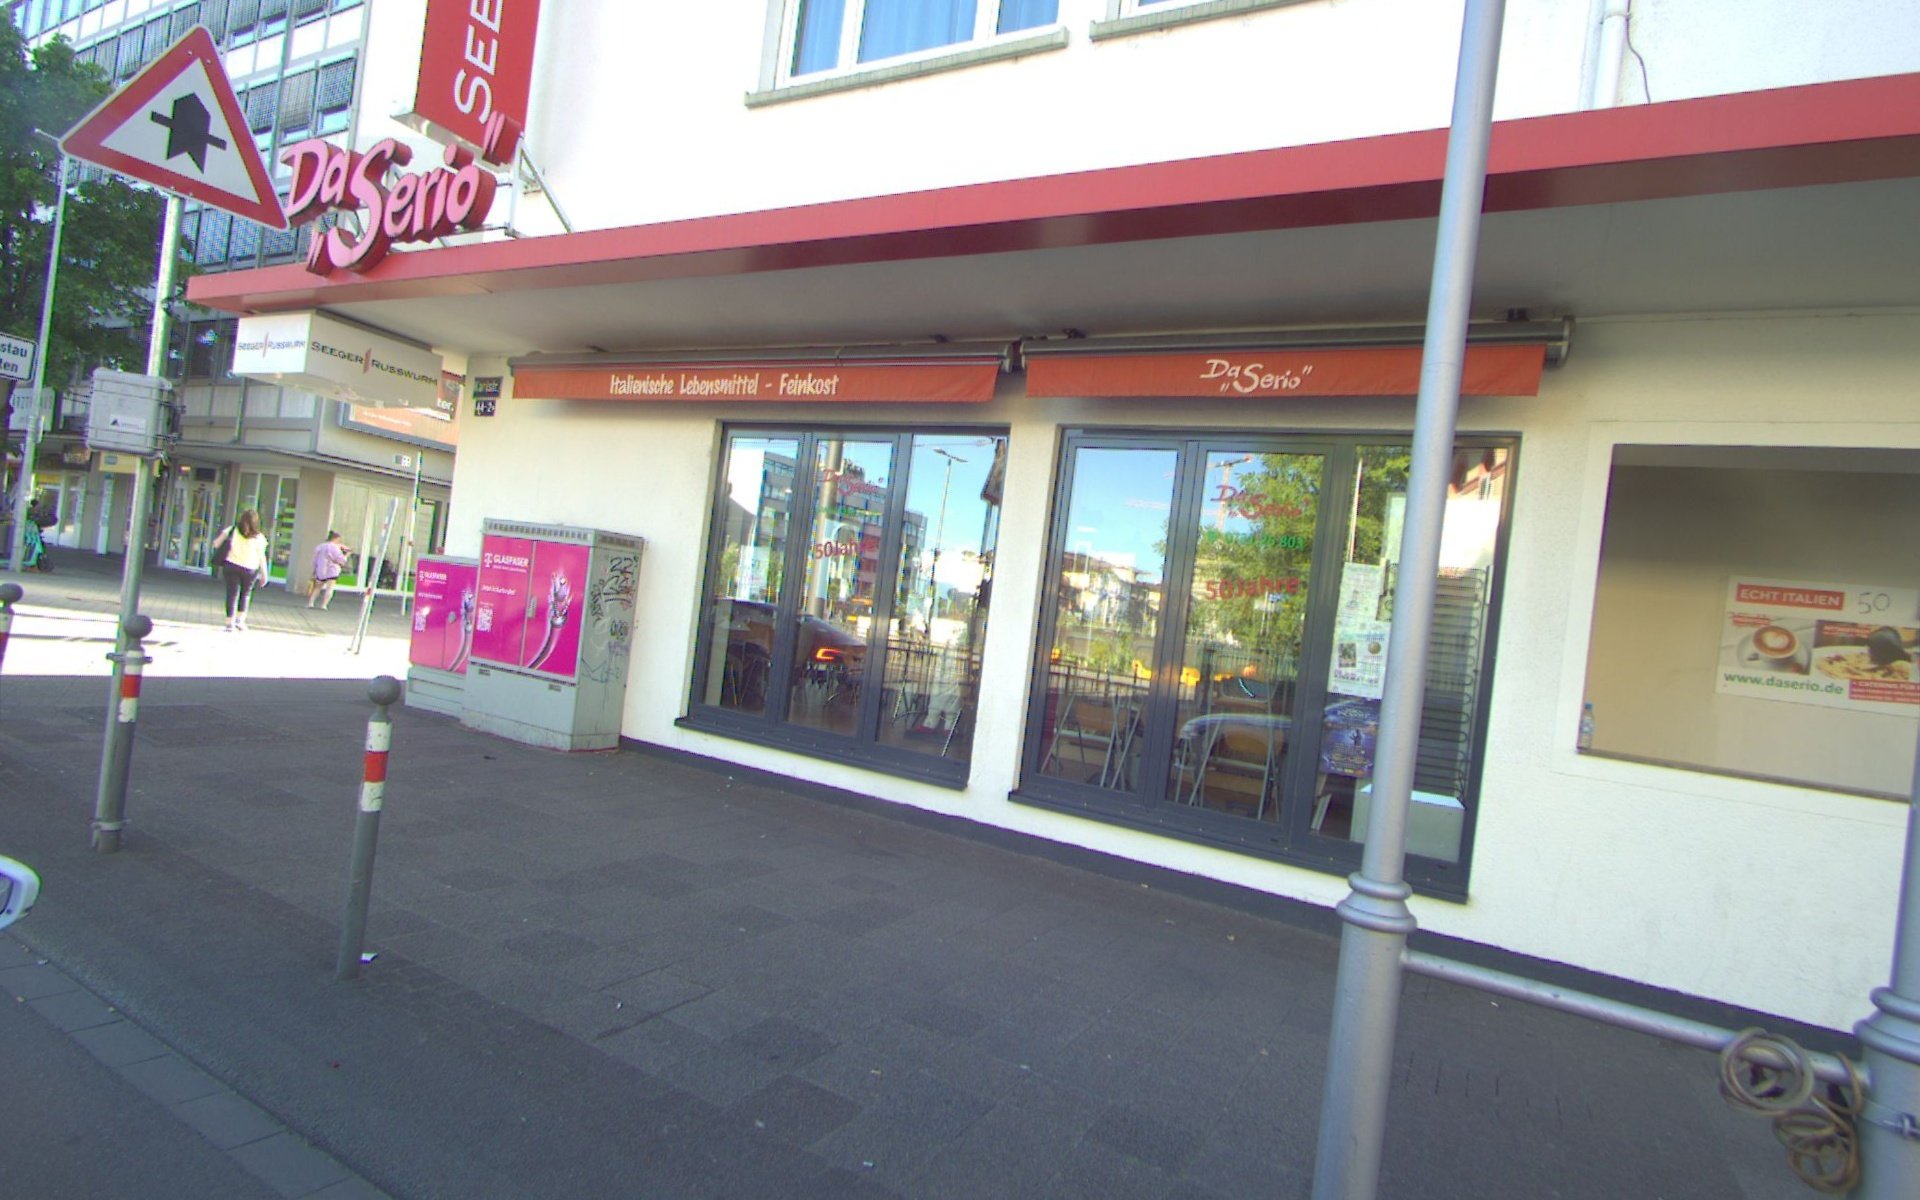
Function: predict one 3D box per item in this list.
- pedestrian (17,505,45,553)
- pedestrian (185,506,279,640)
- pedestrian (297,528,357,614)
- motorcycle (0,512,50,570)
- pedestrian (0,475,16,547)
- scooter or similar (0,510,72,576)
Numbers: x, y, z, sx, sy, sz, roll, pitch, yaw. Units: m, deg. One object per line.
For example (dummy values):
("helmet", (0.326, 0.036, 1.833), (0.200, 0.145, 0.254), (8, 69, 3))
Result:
("pedestrian", (-27.687, -2.124, 29.976), (0.504, 1.359, 0.390), (6, -1, 34))
("pedestrian", (-10.523, -0.390, 14.579), (0.909, 1.773, 1.029), (7, 0, -35))
("pedestrian", (-13.544, -0.621, 21.507), (0.884, 1.687, 0.801), (8, -1, -35))
("motorcycle", (-21.530, -1.386, 22.383), (0.532, 1.186, 1.711), (7, -2, 30))
("pedestrian", (-28.253, -2.638, 29.401), (0.570, 2.037, 0.663), (6, -1, 34))
("scooter or similar", (-19.935, -1.235, 21.176), (1.628, 1.229, 0.640), (8, -1, -29))
